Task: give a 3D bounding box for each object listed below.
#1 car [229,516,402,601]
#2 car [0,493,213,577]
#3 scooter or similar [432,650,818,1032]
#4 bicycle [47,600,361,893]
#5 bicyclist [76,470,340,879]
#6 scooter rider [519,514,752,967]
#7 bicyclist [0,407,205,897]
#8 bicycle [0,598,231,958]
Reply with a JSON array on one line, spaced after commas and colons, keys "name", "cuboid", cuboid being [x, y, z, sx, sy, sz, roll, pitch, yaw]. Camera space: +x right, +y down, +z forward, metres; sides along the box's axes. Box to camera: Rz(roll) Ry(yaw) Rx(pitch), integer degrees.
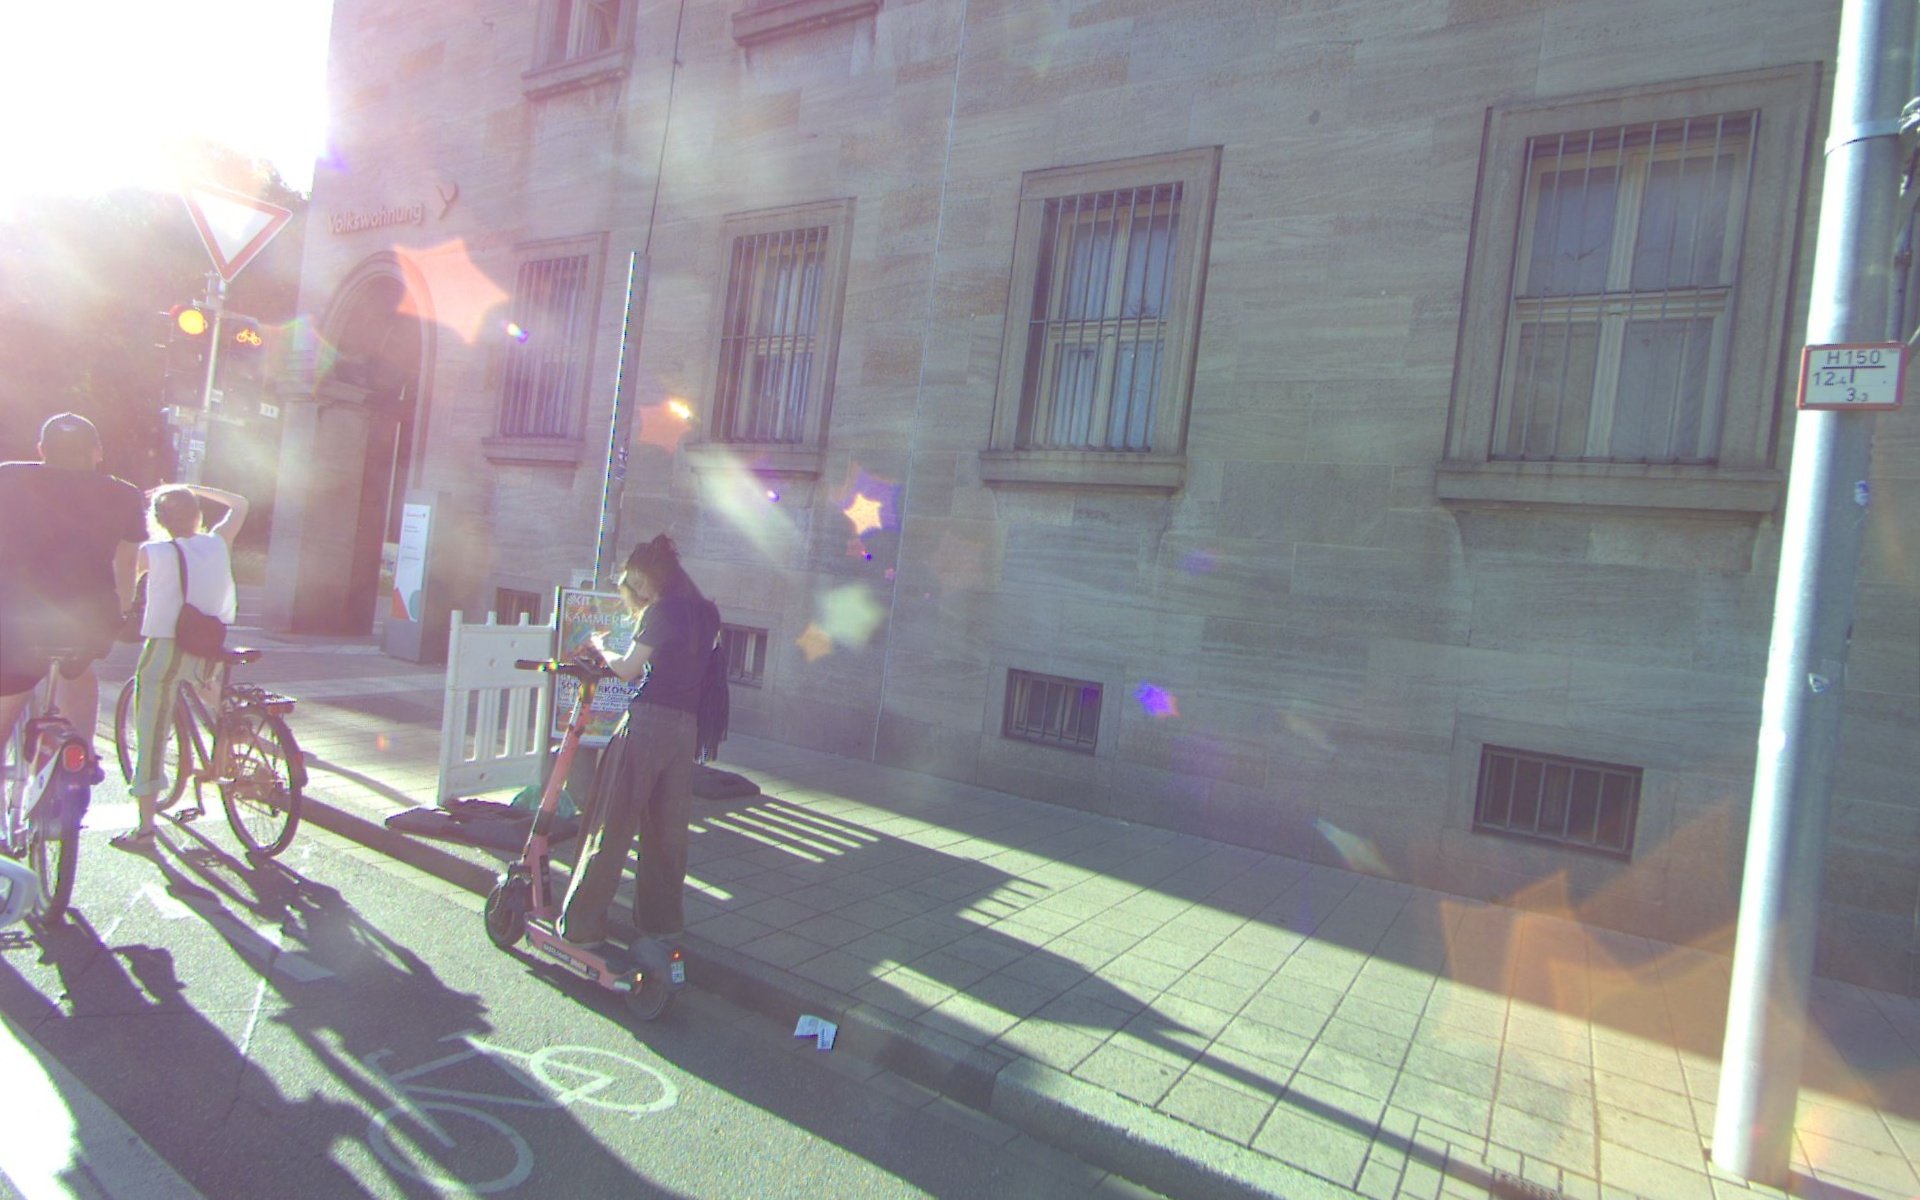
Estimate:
[{"name": "car", "cuboid": [-20.274, -1.260, 31.802, 1.968, 2.037, 3.994, 6, -2, 33]}, {"name": "car", "cuboid": [-23.474, -1.750, 27.347, 1.967, 1.533, 4.586, 6, -2, 32]}, {"name": "scooter or similar", "cuboid": [-1.300, 0.850, 3.920, 1.248, 1.164, 0.575, 6, 0, 21]}, {"name": "bicycle", "cuboid": [-3.705, 0.631, 4.885, 1.718, 1.057, 0.582, 7, 0, 33]}, {"name": "bicyclist", "cuboid": [-3.638, 0.317, 4.864, 0.934, 1.760, 0.584, 7, 0, 32]}, {"name": "scooter rider", "cuboid": [-1.262, 0.504, 3.888, 0.542, 1.581, 0.571, 7, 0, -36]}, {"name": "bicyclist", "cuboid": [-3.653, 0.172, 3.982, 0.897, 1.736, 0.624, 7, 0, 30]}, {"name": "bicycle", "cuboid": [-3.716, 0.593, 3.988, 1.717, 1.057, 0.624, 7, 0, 31]}]
